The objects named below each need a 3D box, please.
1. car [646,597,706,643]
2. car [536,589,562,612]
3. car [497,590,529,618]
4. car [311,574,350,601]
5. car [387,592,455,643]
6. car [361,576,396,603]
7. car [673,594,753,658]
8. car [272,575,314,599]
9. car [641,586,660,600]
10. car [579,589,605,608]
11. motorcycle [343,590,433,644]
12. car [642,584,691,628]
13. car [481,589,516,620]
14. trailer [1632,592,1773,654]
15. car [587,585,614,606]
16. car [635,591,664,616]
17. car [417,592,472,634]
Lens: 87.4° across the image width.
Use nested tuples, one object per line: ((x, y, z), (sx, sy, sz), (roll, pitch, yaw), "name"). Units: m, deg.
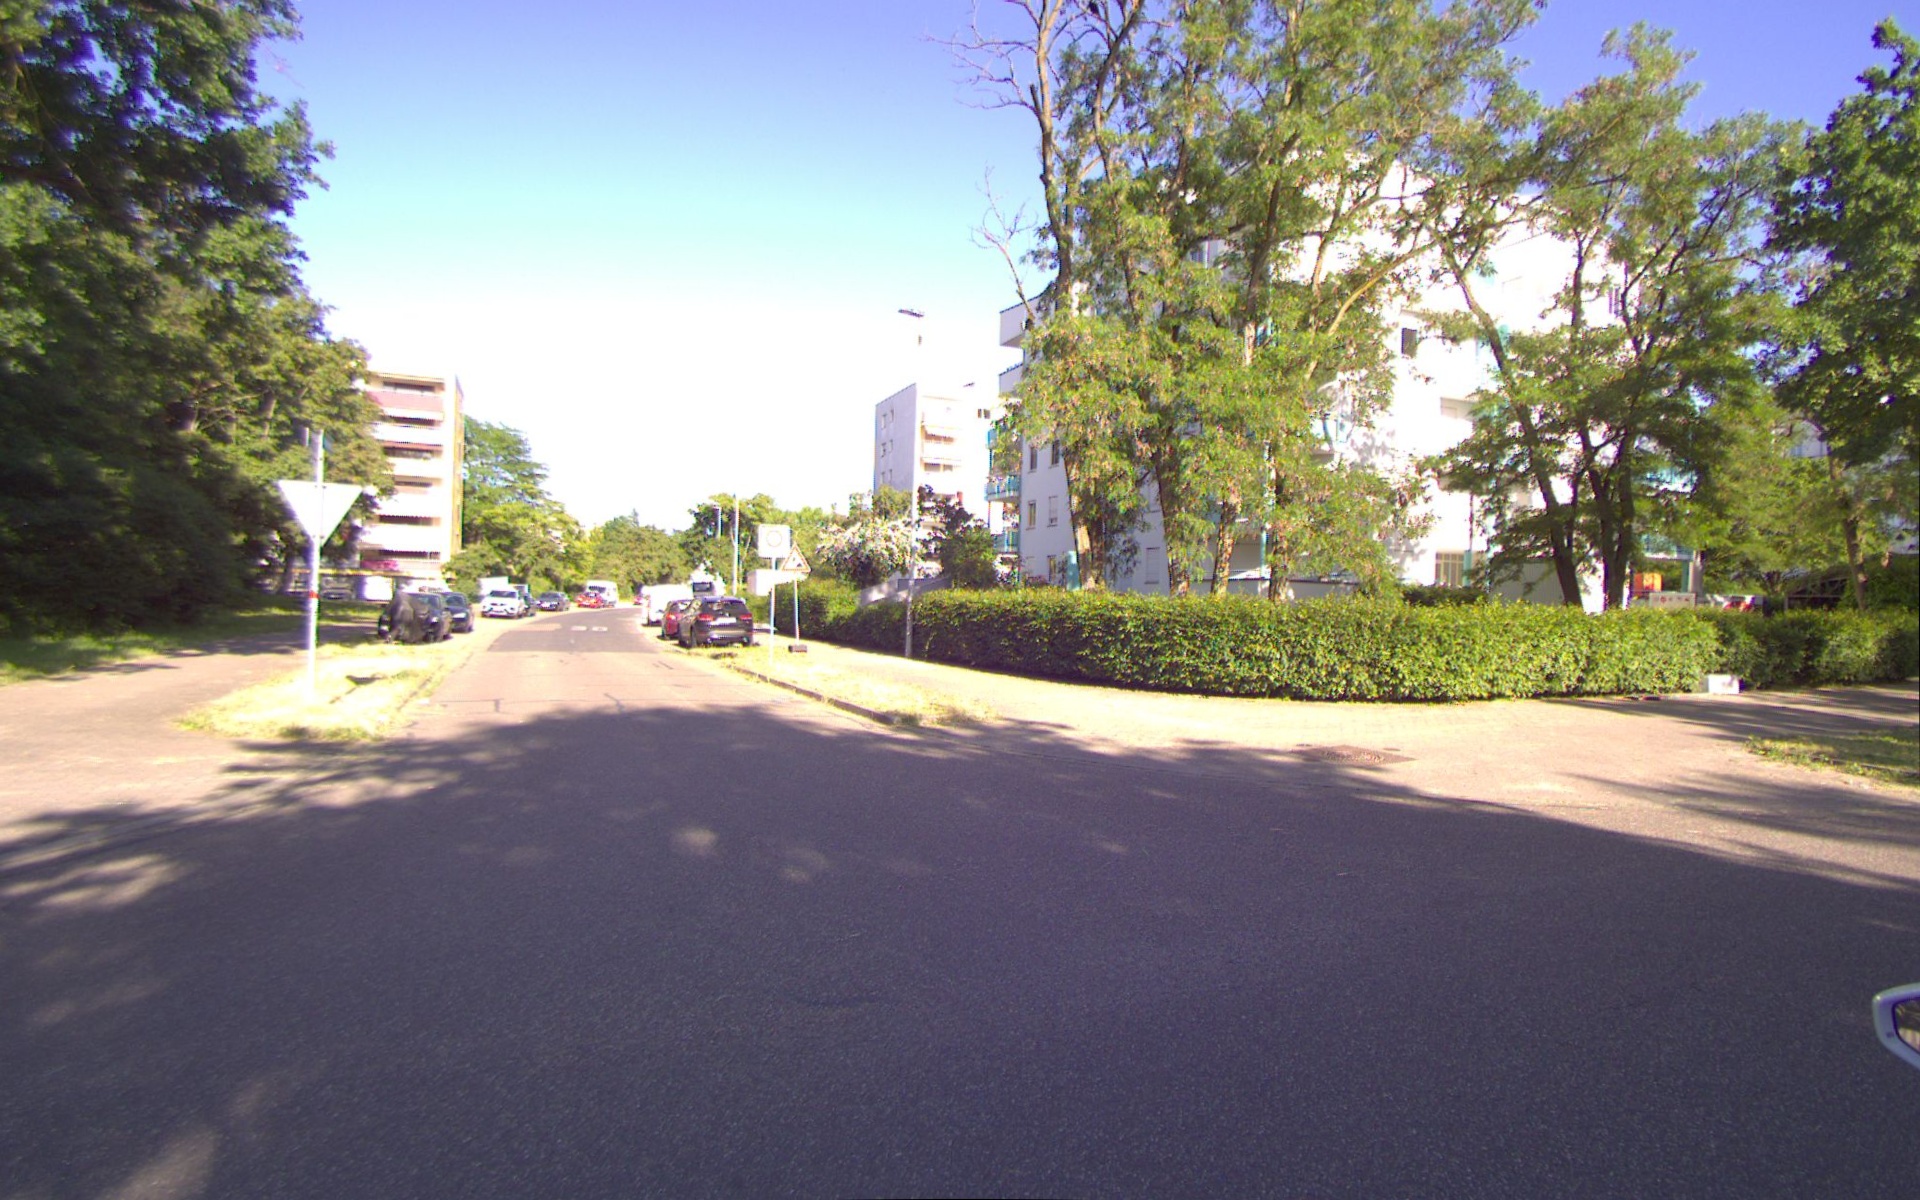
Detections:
((-10.564, 0.711, 37.207), (1.615, 1.531, 3.813), (1, 0, -24), "car")
((-30.216, 0.041, 73.752), (1.623, 1.578, 3.813), (1, 0, -24), "car")
((-26.656, 0.226, 59.923), (1.623, 1.578, 3.813), (1, 0, -24), "car")
((-44.125, -0.889, 70.458), (1.738, 1.767, 3.813), (1, 0, -24), "car")
((-16.354, 0.503, 30.584), (1.538, 1.410, 3.567), (1, 0, -24), "car")
((-41.277, -0.754, 71.367), (1.738, 1.767, 3.813), (1, 0, -24), "car")
((-7.663, 0.746, 30.937), (1.732, 1.808, 3.813), (1, 0, -24), "car")
((-45.865, -0.892, 69.163), (1.775, 1.547, 3.813), (1, 0, -24), "car")
((-38.784, -0.841, 125.981), (1.860, 1.662, 3.991), (2, 0, -12), "car")
((-33.561, -0.170, 91.698), (1.796, 1.617, 3.989), (2, 0, -13), "car")
((-14.979, 0.446, 26.363), (0.664, 1.362, 1.955), (2, 0, 34), "motorcycle")
((-14.742, 0.287, 50.352), (1.803, 2.088, 3.813), (1, 0, -24), "car")
((-25.044, 0.207, 54.553), (1.623, 1.578, 3.813), (1, 0, -24), "car")
((26.014, 0.803, 35.208), (4.365, 2.070, 1.972), (1, 0, -22), "trailer")
((-34.572, -0.486, 96.748), (1.950, 1.925, 3.989), (2, 0, -13), "car")
((-20.177, 0.221, 65.241), (1.499, 1.486, 3.056), (1, 0, -23), "car")
((-18.572, 0.449, 36.288), (1.538, 1.410, 3.567), (1, 0, -24), "car")
